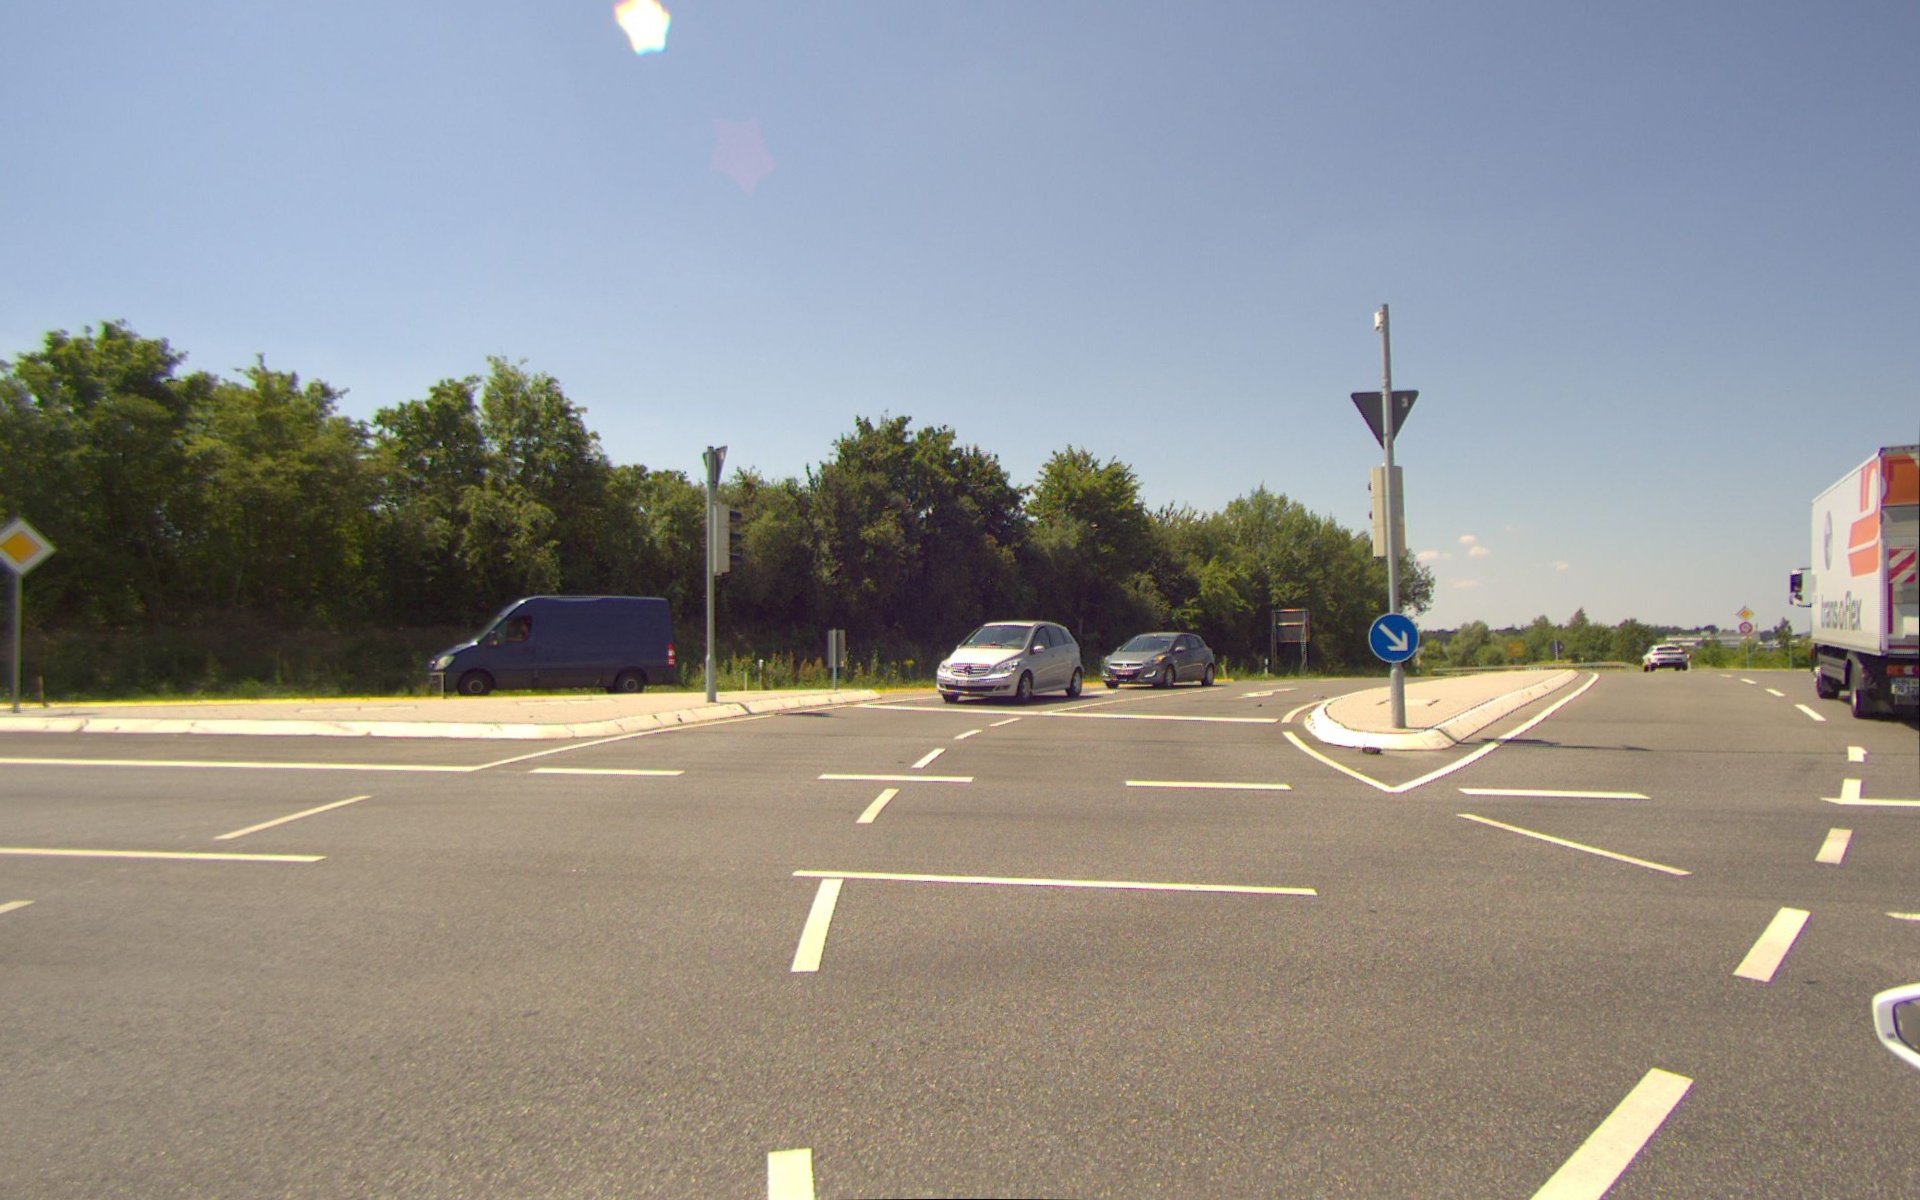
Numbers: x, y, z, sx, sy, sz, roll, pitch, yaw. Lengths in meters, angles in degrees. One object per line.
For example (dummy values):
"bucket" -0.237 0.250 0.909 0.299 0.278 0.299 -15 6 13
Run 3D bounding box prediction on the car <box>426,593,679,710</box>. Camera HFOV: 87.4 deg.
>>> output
"car" -10.437 1.263 25.914 5.827 2.740 2.049 1 -1 -30

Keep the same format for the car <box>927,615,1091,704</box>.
"car" 1.127 1.215 20.583 1.744 1.616 4.325 -2 -4 27

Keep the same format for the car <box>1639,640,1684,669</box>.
"car" 41.559 3.178 59.553 1.776 1.577 3.993 0 -1 29

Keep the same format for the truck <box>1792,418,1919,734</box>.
"truck" 15.264 -0.223 15.700 2.733 3.911 9.339 -1 -1 35

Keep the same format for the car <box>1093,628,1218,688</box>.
"car" 5.309 1.546 26.844 1.670 1.475 4.316 -3 -4 35
